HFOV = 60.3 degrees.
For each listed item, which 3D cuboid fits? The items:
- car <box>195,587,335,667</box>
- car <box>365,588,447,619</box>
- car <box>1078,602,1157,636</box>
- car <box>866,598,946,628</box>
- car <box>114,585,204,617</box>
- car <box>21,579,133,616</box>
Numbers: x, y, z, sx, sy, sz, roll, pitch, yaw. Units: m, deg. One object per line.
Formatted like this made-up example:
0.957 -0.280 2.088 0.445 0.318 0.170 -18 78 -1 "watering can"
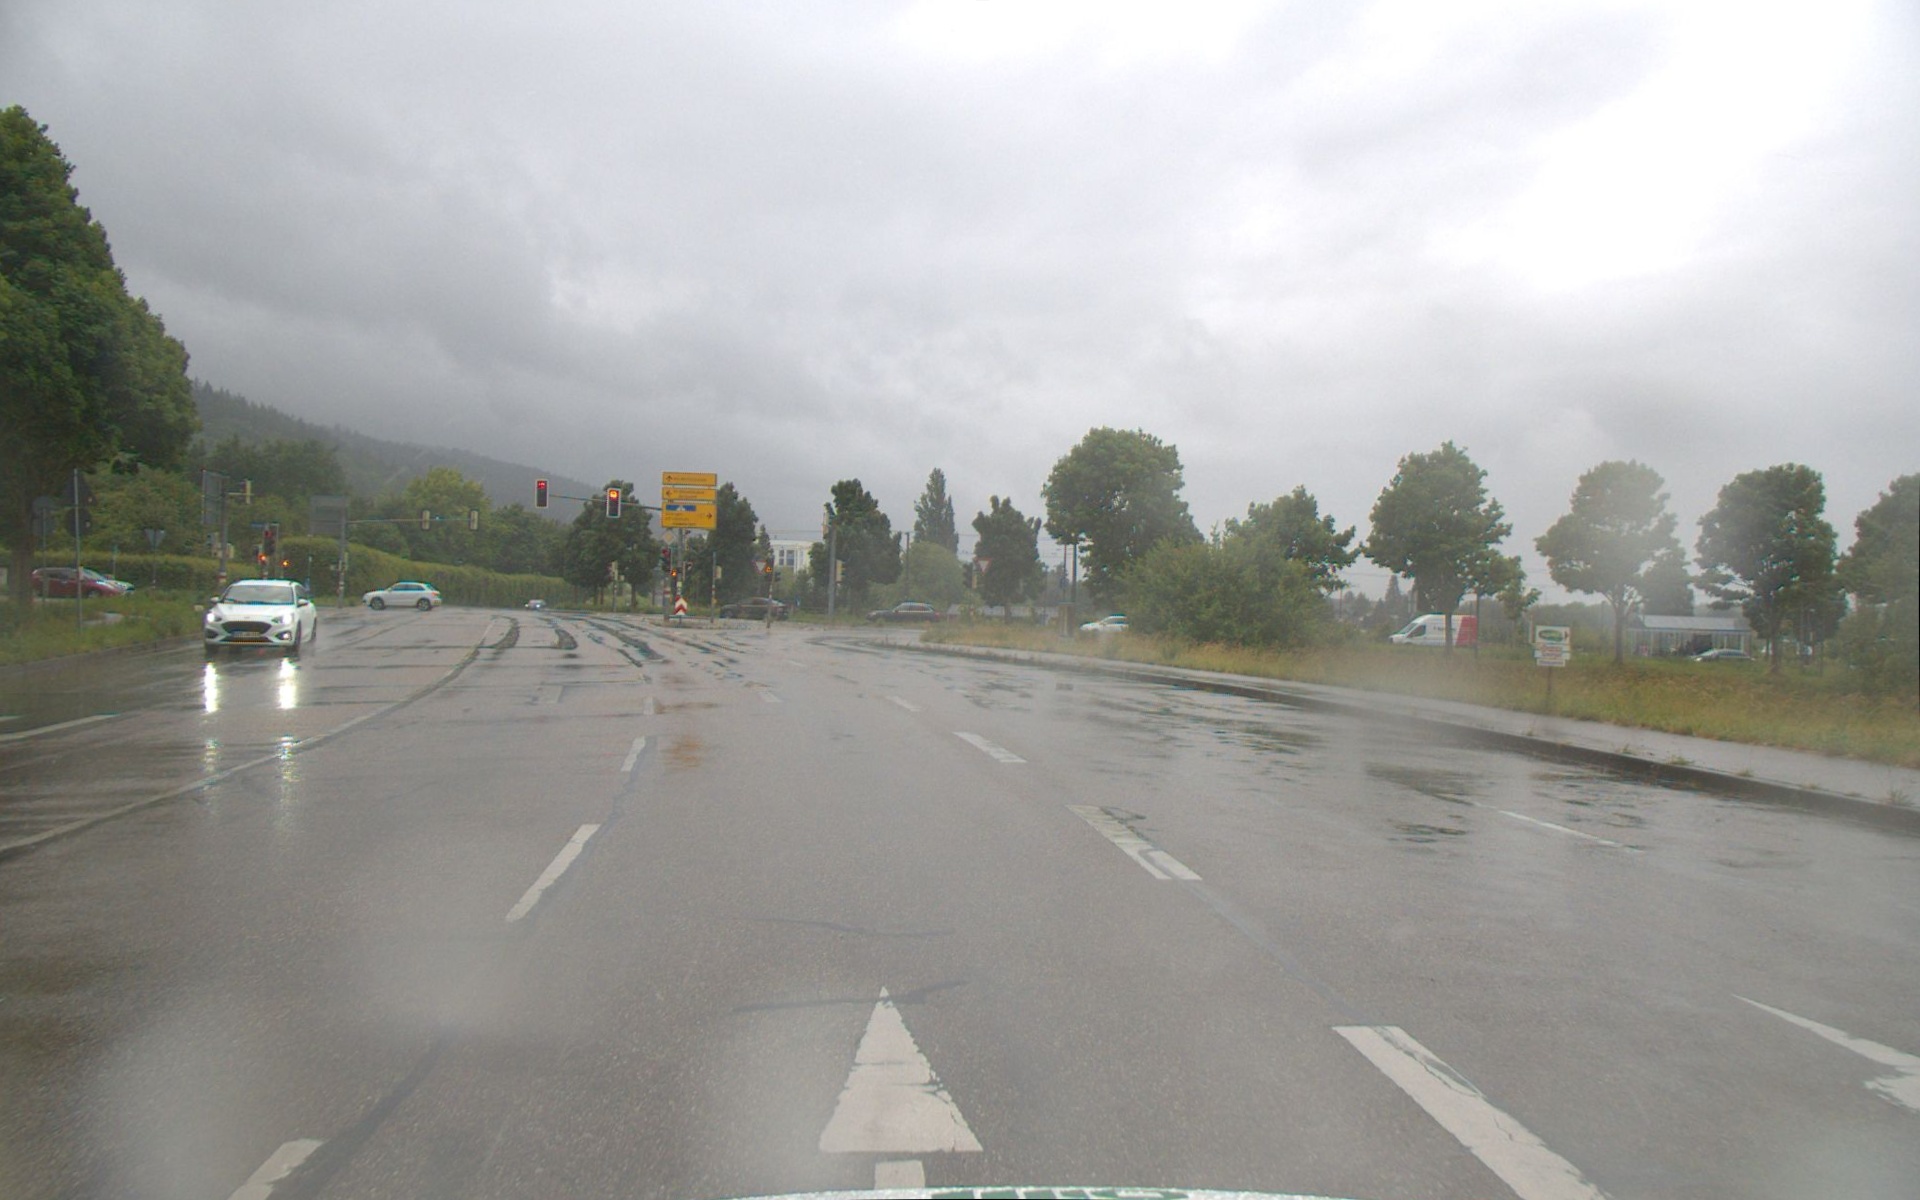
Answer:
-14.785 0.533 35.439 1.845 1.601 4.632 0 0 -11 "car"
-32.138 0.217 96.076 4.301 1.607 1.726 2 0 -14 "car"
9.802 1.183 103.188 4.584 1.949 1.911 1 0 -10 "car"
-3.316 0.795 101.092 4.588 1.667 1.817 1 0 -12 "car"
-44.874 0.039 92.691 4.156 1.607 1.729 2 0 -9 "car"
-42.002 -0.132 78.770 4.293 1.607 1.729 2 0 -9 "car"
